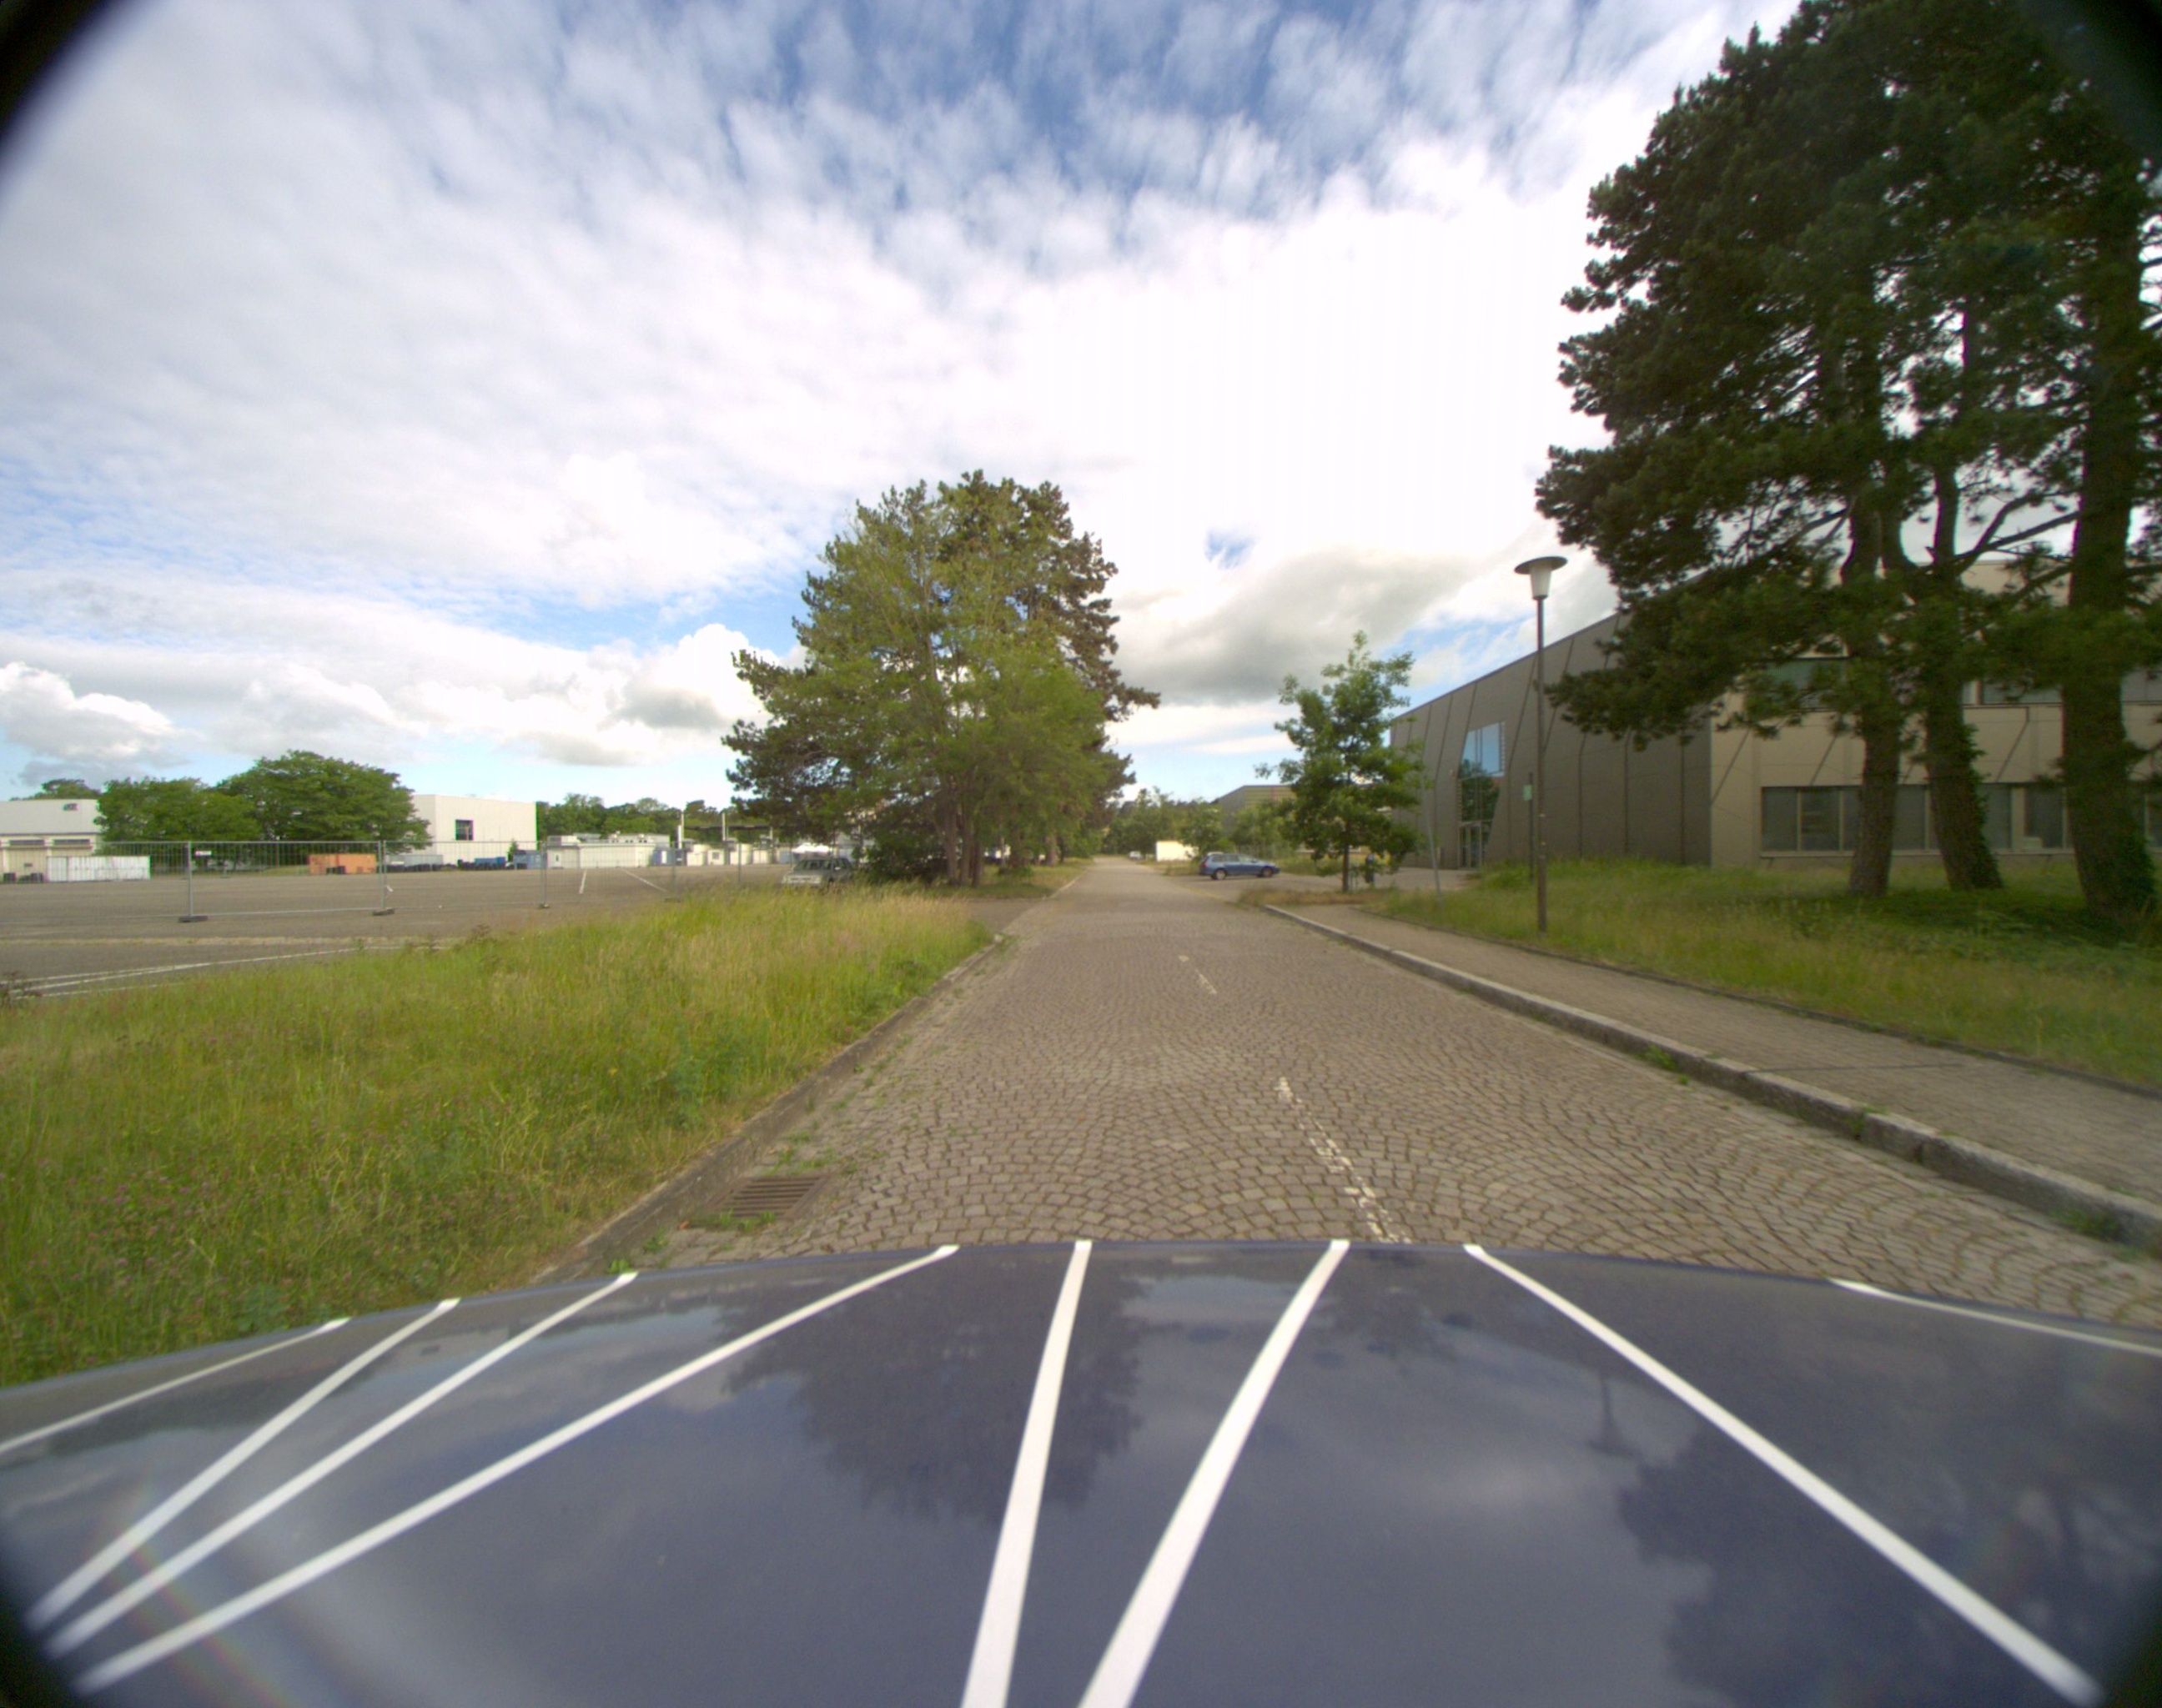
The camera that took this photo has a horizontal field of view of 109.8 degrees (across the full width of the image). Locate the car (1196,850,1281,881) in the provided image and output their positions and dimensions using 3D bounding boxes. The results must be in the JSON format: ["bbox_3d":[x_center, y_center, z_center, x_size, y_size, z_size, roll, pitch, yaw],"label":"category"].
[{"bbox_3d":[8.962,0.615,43.448,4.403,1.501,1.717,-3,1,-1],"label":"car"}]

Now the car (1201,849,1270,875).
[{"bbox_3d":[10.241,0.520,50.704,4.400,1.537,1.842,-3,0,9],"label":"car"}]

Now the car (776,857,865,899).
[{"bbox_3d":[-10.039,0.876,29.597,1.759,1.440,4.328,-1,0,3],"label":"car"}]
